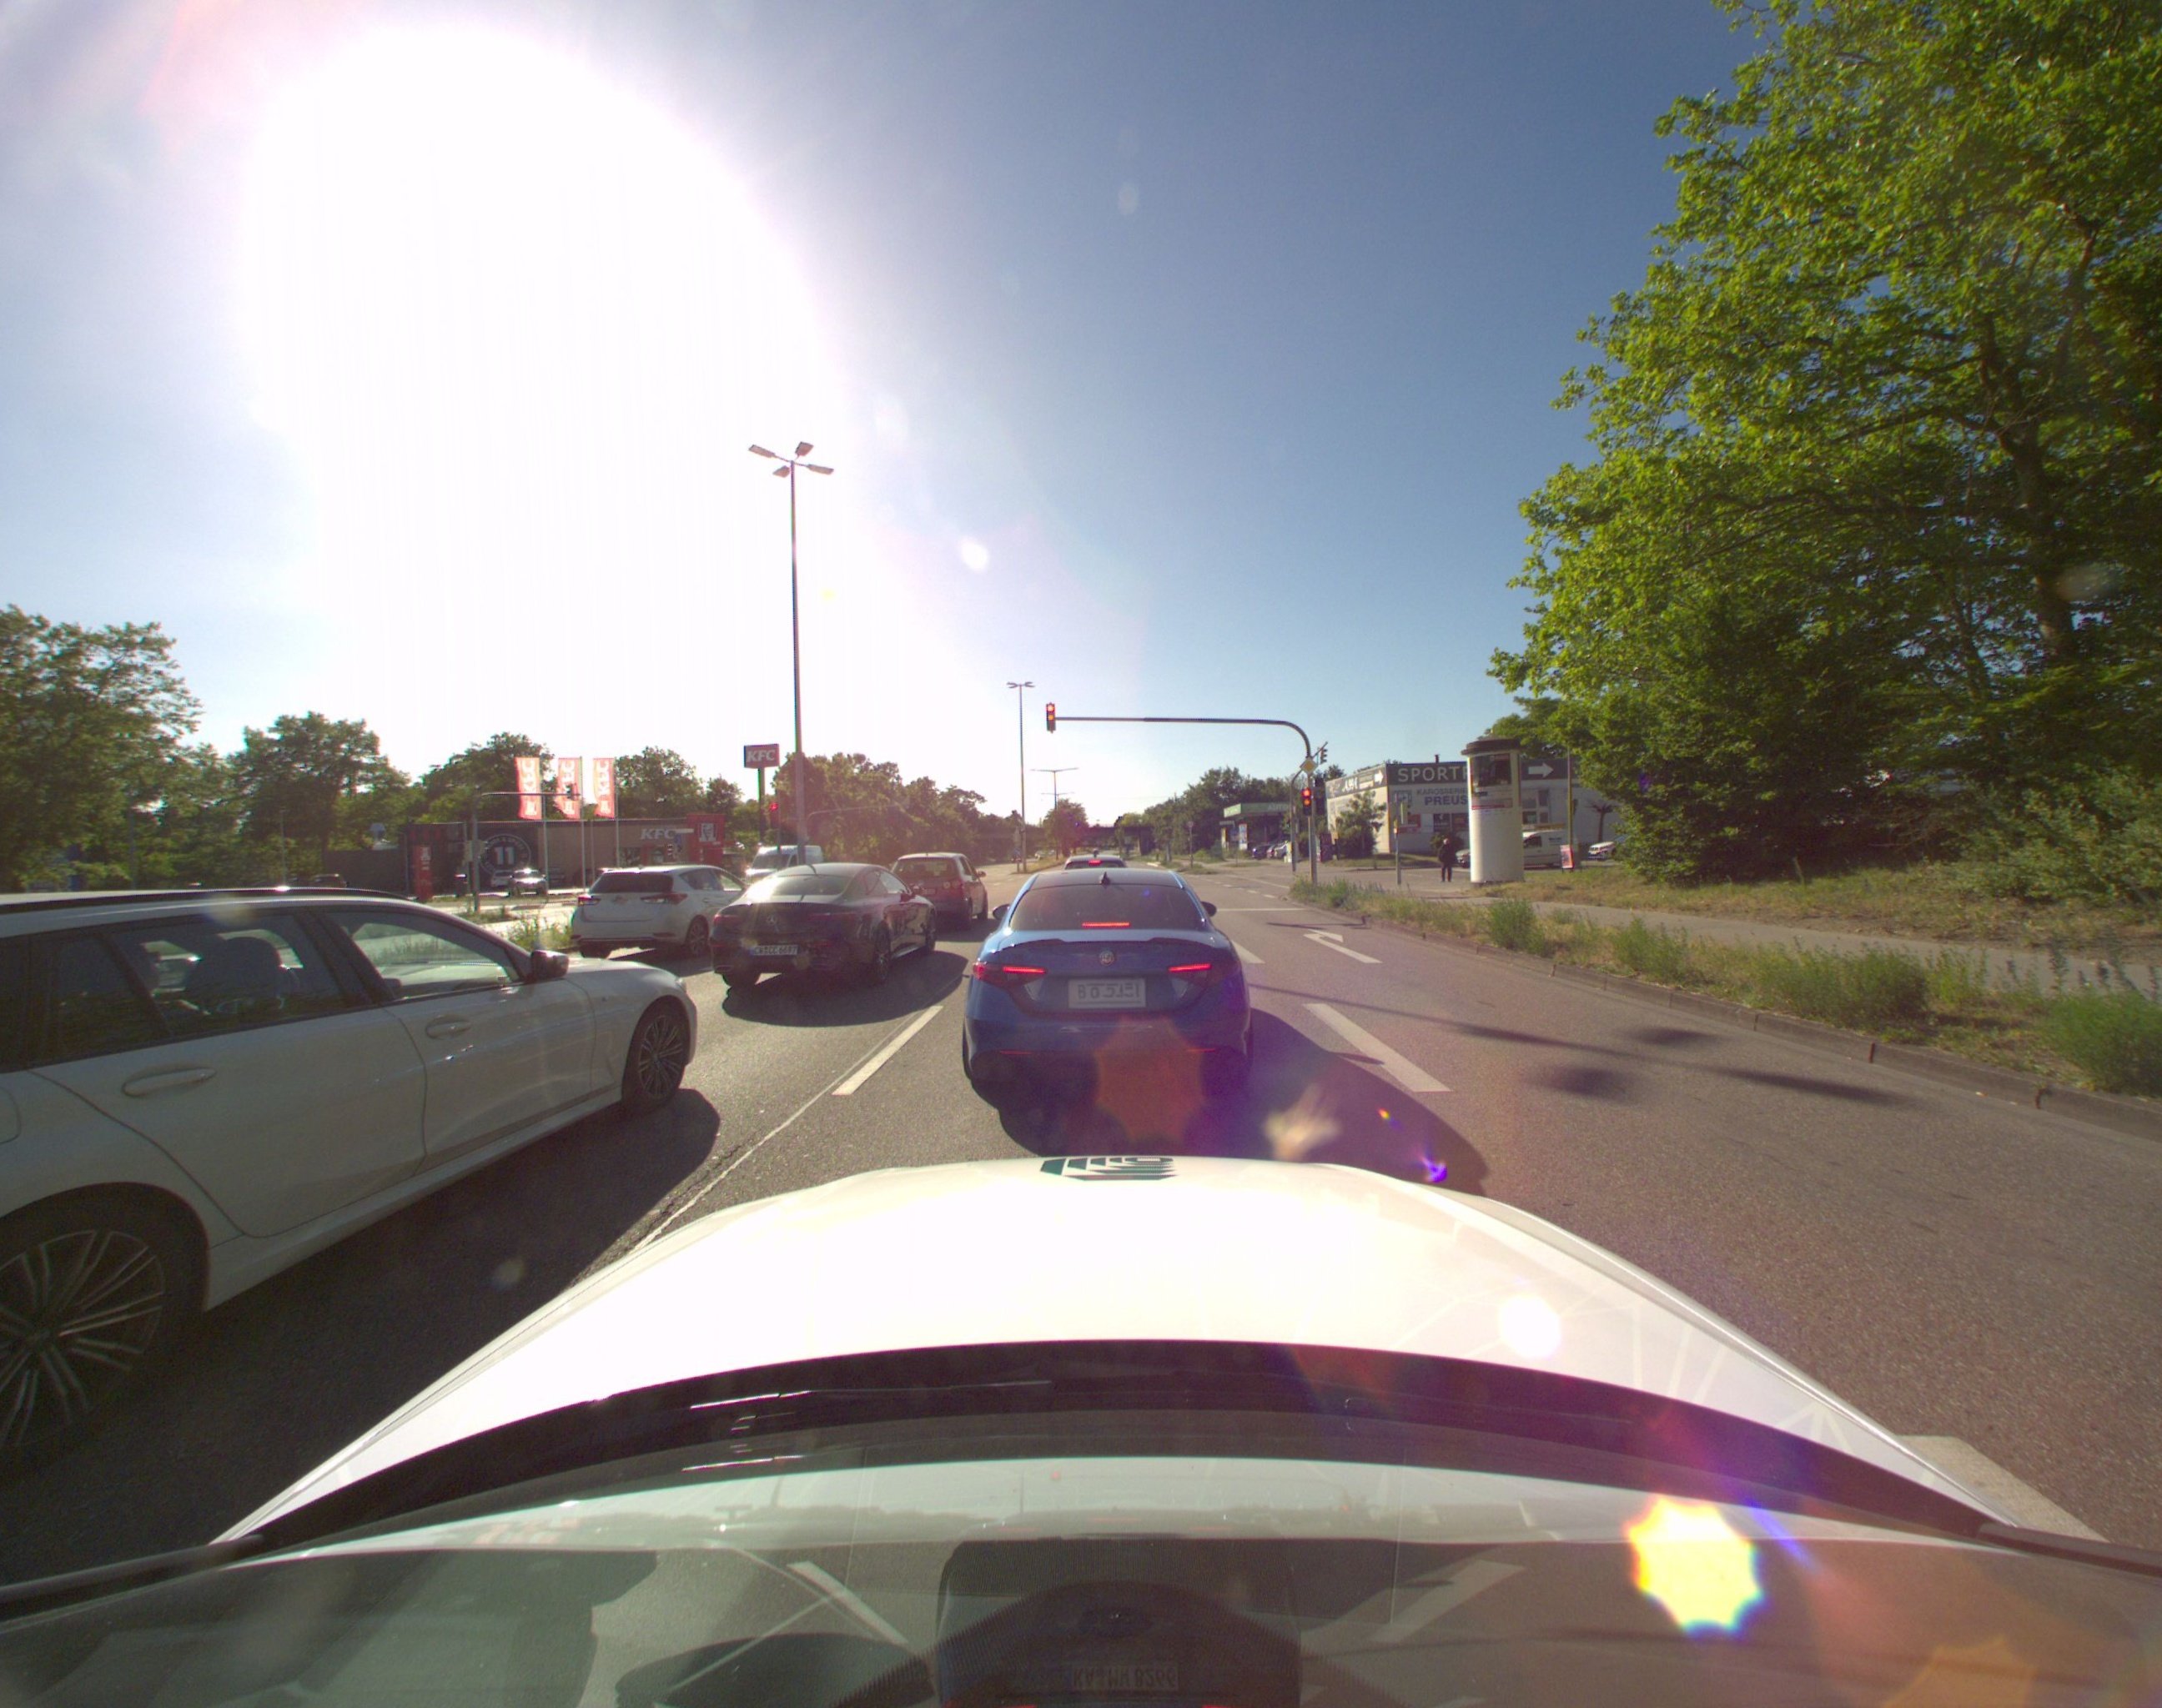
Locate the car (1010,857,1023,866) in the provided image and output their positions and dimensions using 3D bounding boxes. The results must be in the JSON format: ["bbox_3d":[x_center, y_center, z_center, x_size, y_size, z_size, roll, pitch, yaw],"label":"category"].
[{"bbox_3d":[-12.005,1.396,151.634,1.752,1.490,4.480,-3,0,2],"label":"car"}]

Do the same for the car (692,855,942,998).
[{"bbox_3d":[-3.168,0.782,10.820,1.790,1.490,4.476,0,-1,1],"label":"car"}]

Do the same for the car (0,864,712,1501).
[{"bbox_3d":[-3.426,0.801,3.315,1.779,1.490,4.403,0,-1,1],"label":"car"}]

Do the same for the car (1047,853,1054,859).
[{"bbox_3d":[-8.658,0.637,232.626,1.609,1.559,3.359,0,-1,2],"label":"car"}]

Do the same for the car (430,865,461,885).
[{"bbox_3d":[-47.631,1.560,61.004,1.670,1.471,3.872,0,-1,-40],"label":"car"}]

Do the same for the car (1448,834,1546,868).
[{"bbox_3d":[21.771,-0.187,42.721,4.273,1.549,1.765,-3,1,0],"label":"car"}]

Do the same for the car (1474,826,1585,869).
[{"bbox_3d":[21.640,-0.333,39.386,4.367,1.801,1.765,-3,1,0],"label":"car"}]

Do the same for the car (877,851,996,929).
[{"bbox_3d":[-3.022,0.718,17.922,1.753,1.490,4.403,0,-1,1],"label":"car"}]

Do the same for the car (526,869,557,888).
[{"bbox_3d":[-43.139,1.953,65.074,1.670,1.471,3.872,0,-1,-40],"label":"car"}]

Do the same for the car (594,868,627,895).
[{"bbox_3d":[-33.661,1.932,58.353,1.920,1.752,4.315,0,-1,-29],"label":"car"}]

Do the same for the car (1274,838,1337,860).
[{"bbox_3d":[17.710,-0.413,64.330,4.470,1.454,1.860,-4,0,3],"label":"car"}]

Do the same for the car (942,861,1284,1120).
[{"bbox_3d":[0.208,0.776,6.724,1.889,1.418,4.403,0,0,1],"label":"car"}]

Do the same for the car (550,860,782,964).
[{"bbox_3d":[-6.771,0.855,13.882,1.753,1.490,4.197,0,-1,1],"label":"car"}]

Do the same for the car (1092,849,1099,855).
[{"bbox_3d":[4.374,-0.480,247.360,1.884,1.816,4.001,0,-1,2],"label":"car"}]

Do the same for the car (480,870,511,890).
[{"bbox_3d":[-45.631,2.021,63.420,1.670,1.471,3.872,0,-1,-40],"label":"car"}]

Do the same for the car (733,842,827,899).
[{"bbox_3d":[-14.669,0.752,40.145,2.014,2.447,5.827,-5,0,3],"label":"car"}]

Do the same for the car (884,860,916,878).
[{"bbox_3d":[-17.045,1.413,76.779,1.752,1.490,4.480,-5,0,2],"label":"car"}]

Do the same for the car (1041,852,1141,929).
[{"bbox_3d":[0.220,0.698,17.367,1.844,1.418,4.403,0,0,1],"label":"car"}]

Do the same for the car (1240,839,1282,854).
[{"bbox_3d":[21.399,-0.866,97.022,4.532,1.490,1.766,-4,0,3],"label":"car"}]

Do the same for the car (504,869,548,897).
[{"bbox_3d":[-37.330,1.936,54.874,2.005,1.765,4.315,0,-1,-29],"label":"car"}]

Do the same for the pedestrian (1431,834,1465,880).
[{"bbox_3d":[14.253,0.116,31.666,0.922,1.735,0.939,0,-1,1],"label":"pedestrian"}]

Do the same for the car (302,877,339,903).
[{"bbox_3d":[-52.366,2.459,56.110,1.670,1.673,3.897,0,-1,-40],"label":"car"}]

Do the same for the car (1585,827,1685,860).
[{"bbox_3d":[29.026,-0.526,42.751,4.028,1.490,1.782,-3,0,-1],"label":"car"}]

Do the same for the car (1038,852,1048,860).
[{"bbox_3d":[-7.867,0.486,168.975,1.752,1.490,3.839,-3,0,2],"label":"car"}]

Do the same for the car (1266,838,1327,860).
[{"bbox_3d":[17.716,-0.399,67.111,4.470,1.454,1.860,-4,0,3],"label":"car"}]

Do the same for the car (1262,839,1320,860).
[{"bbox_3d":[17.993,-0.370,69.859,4.470,1.454,1.860,-4,0,3],"label":"car"}]

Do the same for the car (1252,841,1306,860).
[{"bbox_3d":[17.953,-0.342,73.913,4.470,1.454,1.860,-4,0,3],"label":"car"}]
